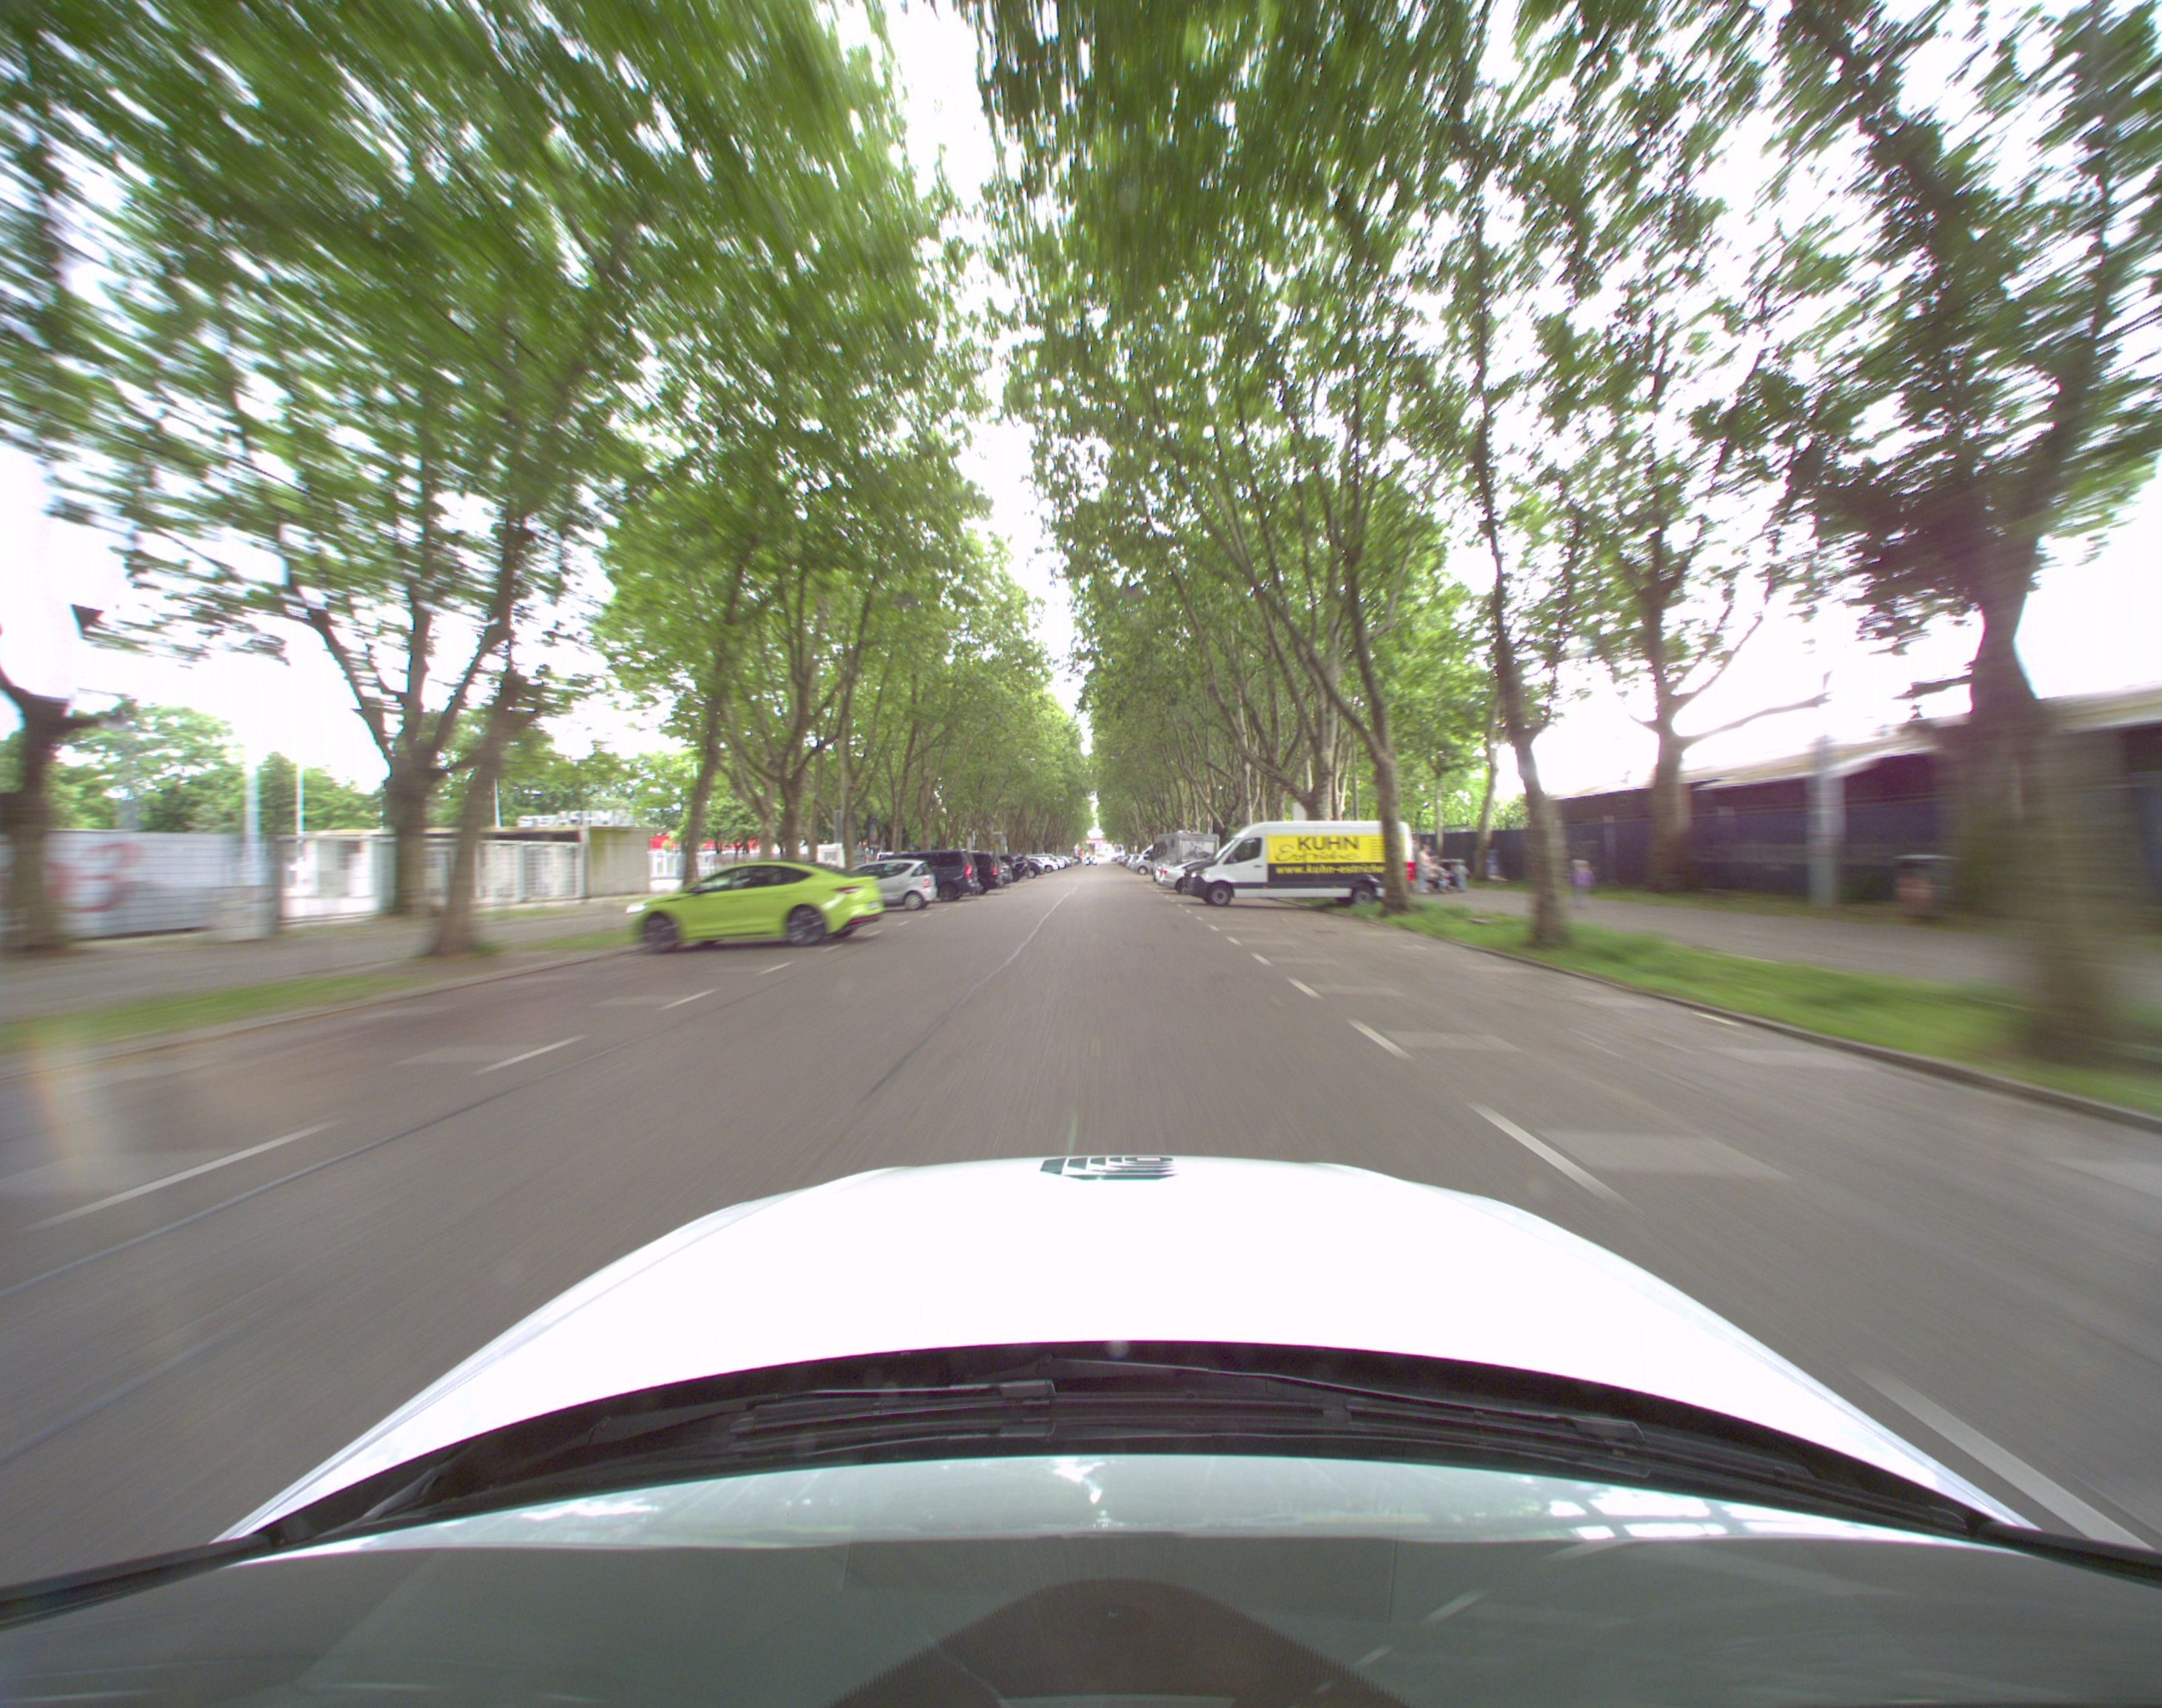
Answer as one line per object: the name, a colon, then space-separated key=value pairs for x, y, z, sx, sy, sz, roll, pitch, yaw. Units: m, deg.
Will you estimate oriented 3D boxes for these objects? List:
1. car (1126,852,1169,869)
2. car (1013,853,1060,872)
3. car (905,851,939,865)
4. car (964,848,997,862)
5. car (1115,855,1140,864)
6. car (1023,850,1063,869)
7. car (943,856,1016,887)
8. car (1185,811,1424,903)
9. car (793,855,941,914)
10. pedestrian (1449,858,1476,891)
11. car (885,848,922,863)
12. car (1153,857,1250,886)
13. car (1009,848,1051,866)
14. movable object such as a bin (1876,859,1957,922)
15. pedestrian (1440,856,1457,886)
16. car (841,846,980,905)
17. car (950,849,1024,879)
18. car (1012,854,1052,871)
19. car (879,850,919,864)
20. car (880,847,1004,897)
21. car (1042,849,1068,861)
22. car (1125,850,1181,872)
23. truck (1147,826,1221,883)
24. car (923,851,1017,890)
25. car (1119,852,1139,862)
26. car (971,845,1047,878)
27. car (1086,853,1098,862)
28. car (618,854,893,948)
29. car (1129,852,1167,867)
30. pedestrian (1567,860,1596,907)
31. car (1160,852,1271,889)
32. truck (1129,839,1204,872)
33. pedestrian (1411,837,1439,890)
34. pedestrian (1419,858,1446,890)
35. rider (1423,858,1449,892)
car: x=6.443 y=0.633 z=79.342 sx=4.102 sy=1.429 sz=1.704 roll=2 pitch=-1 yaw=3
car: x=-4.302 y=0.793 z=78.871 sx=4.366 sy=1.597 sz=1.999 roll=-3 pitch=0 yaw=-1
car: x=-29.819 y=0.708 z=152.673 sx=5.980 sy=2.527 sz=2.000 roll=0 pitch=0 yaw=1
car: x=-18.853 y=0.203 z=153.047 sx=5.764 sy=2.597 sz=2.001 roll=0 pitch=0 yaw=1
car: x=8.114 y=0.929 z=142.660 sx=4.156 sy=1.596 sz=1.853 roll=0 pitch=0 yaw=-2
car: x=-4.714 y=0.688 z=101.938 sx=4.877 sy=2.019 sz=1.919 roll=-3 pitch=0 yaw=0
car: x=-5.696 y=0.970 z=45.615 sx=3.900 sy=1.494 sz=1.747 roll=-3 pitch=0 yaw=-12
car: x=6.736 y=0.086 z=25.175 sx=6.853 sy=2.695 sz=2.129 roll=0 pitch=0 yaw=2
car: x=-6.565 y=0.910 z=25.352 sx=4.096 sy=1.568 sz=1.756 roll=-3 pitch=0 yaw=-4
pedestrian: x=12.650 y=0.662 z=26.994 sx=0.589 sy=1.048 sz=0.589 roll=-3 pitch=0 yaw=4
car: x=-30.670 y=0.203 z=141.076 sx=5.980 sy=2.527 sz=2.000 roll=0 pitch=0 yaw=1
car: x=5.563 y=0.789 z=37.998 sx=4.303 sy=1.302 sz=1.700 roll=0 pitch=0 yaw=1
car: x=-5.398 y=0.325 z=86.797 sx=4.327 sy=1.667 sz=1.999 roll=-3 pitch=0 yaw=-1
movable object such as a bin: x=13.734 y=0.593 z=13.402 sx=0.566 sy=0.959 sz=0.675 roll=-6 pitch=0 yaw=0
pedestrian: x=12.890 y=0.585 z=28.533 sx=0.421 sy=1.035 sz=0.392 roll=0 pitch=-1 yaw=-39
car: x=-6.268 y=0.765 z=30.379 sx=4.752 sy=1.924 sz=2.015 roll=-2 pitch=0 yaw=-4
car: x=-6.059 y=0.641 z=52.791 sx=4.650 sy=1.820 sz=1.801 roll=-1 pitch=-2 yaw=-8
car: x=-5.564 y=0.969 z=92.295 sx=4.327 sy=1.667 sz=1.999 roll=-3 pitch=0 yaw=-1
car: x=-29.665 y=0.498 z=132.812 sx=5.980 sy=2.252 sz=2.000 roll=0 pitch=0 yaw=1
car: x=-5.985 y=0.759 z=35.604 sx=4.886 sy=1.924 sz=2.209 roll=-2 pitch=0 yaw=2
car: x=-3.790 y=0.117 z=119.160 sx=3.817 sy=1.627 sz=1.951 roll=-3 pitch=0 yaw=-2
car: x=5.642 y=0.572 z=64.126 sx=4.321 sy=1.618 sz=1.805 roll=1 pitch=0 yaw=4
truck: x=5.707 y=0.033 z=46.569 sx=2.456 sy=2.938 sz=7.520 roll=0 pitch=0 yaw=-7
car: x=-5.830 y=0.836 z=43.203 sx=4.560 sy=1.781 sz=1.799 roll=-3 pitch=1 yaw=3
car: x=8.752 y=0.542 z=149.369 sx=3.636 sy=1.667 sz=1.518 roll=0 pitch=0 yaw=-2
car: x=-5.290 y=0.534 z=60.416 sx=5.418 sy=2.128 sz=1.940 roll=-3 pitch=0 yaw=-1
car: x=1.829 y=0.595 z=135.947 sx=1.650 sy=1.364 sz=4.109 roll=-3 pitch=0 yaw=-2
car: x=-6.099 y=0.857 z=15.576 sx=4.497 sy=1.618 sz=1.760 roll=-1 pitch=0 yaw=3
car: x=7.897 y=0.678 z=96.592 sx=4.371 sy=1.755 sz=1.800 roll=0 pitch=0 yaw=-1
pedestrian: x=11.895 y=0.698 z=19.373 sx=0.393 sy=1.084 sz=0.419 roll=-3 pitch=-1 yaw=5
car: x=5.345 y=0.665 z=32.812 sx=4.338 sy=1.445 sz=1.614 roll=0 pitch=0 yaw=5
truck: x=7.223 y=0.139 z=69.041 sx=6.265 sy=2.715 sz=2.100 roll=0 pitch=0 yaw=4
pedestrian: x=11.744 y=0.314 z=27.842 sx=0.636 sy=1.741 sz=0.621 roll=-3 pitch=0 yaw=4
pedestrian: x=11.635 y=0.662 z=26.958 sx=0.637 sy=1.059 sz=0.676 roll=0 pitch=0 yaw=3
rider: x=11.620 y=0.690 z=26.669 sx=0.589 sy=1.048 sz=0.589 roll=-3 pitch=0 yaw=4
